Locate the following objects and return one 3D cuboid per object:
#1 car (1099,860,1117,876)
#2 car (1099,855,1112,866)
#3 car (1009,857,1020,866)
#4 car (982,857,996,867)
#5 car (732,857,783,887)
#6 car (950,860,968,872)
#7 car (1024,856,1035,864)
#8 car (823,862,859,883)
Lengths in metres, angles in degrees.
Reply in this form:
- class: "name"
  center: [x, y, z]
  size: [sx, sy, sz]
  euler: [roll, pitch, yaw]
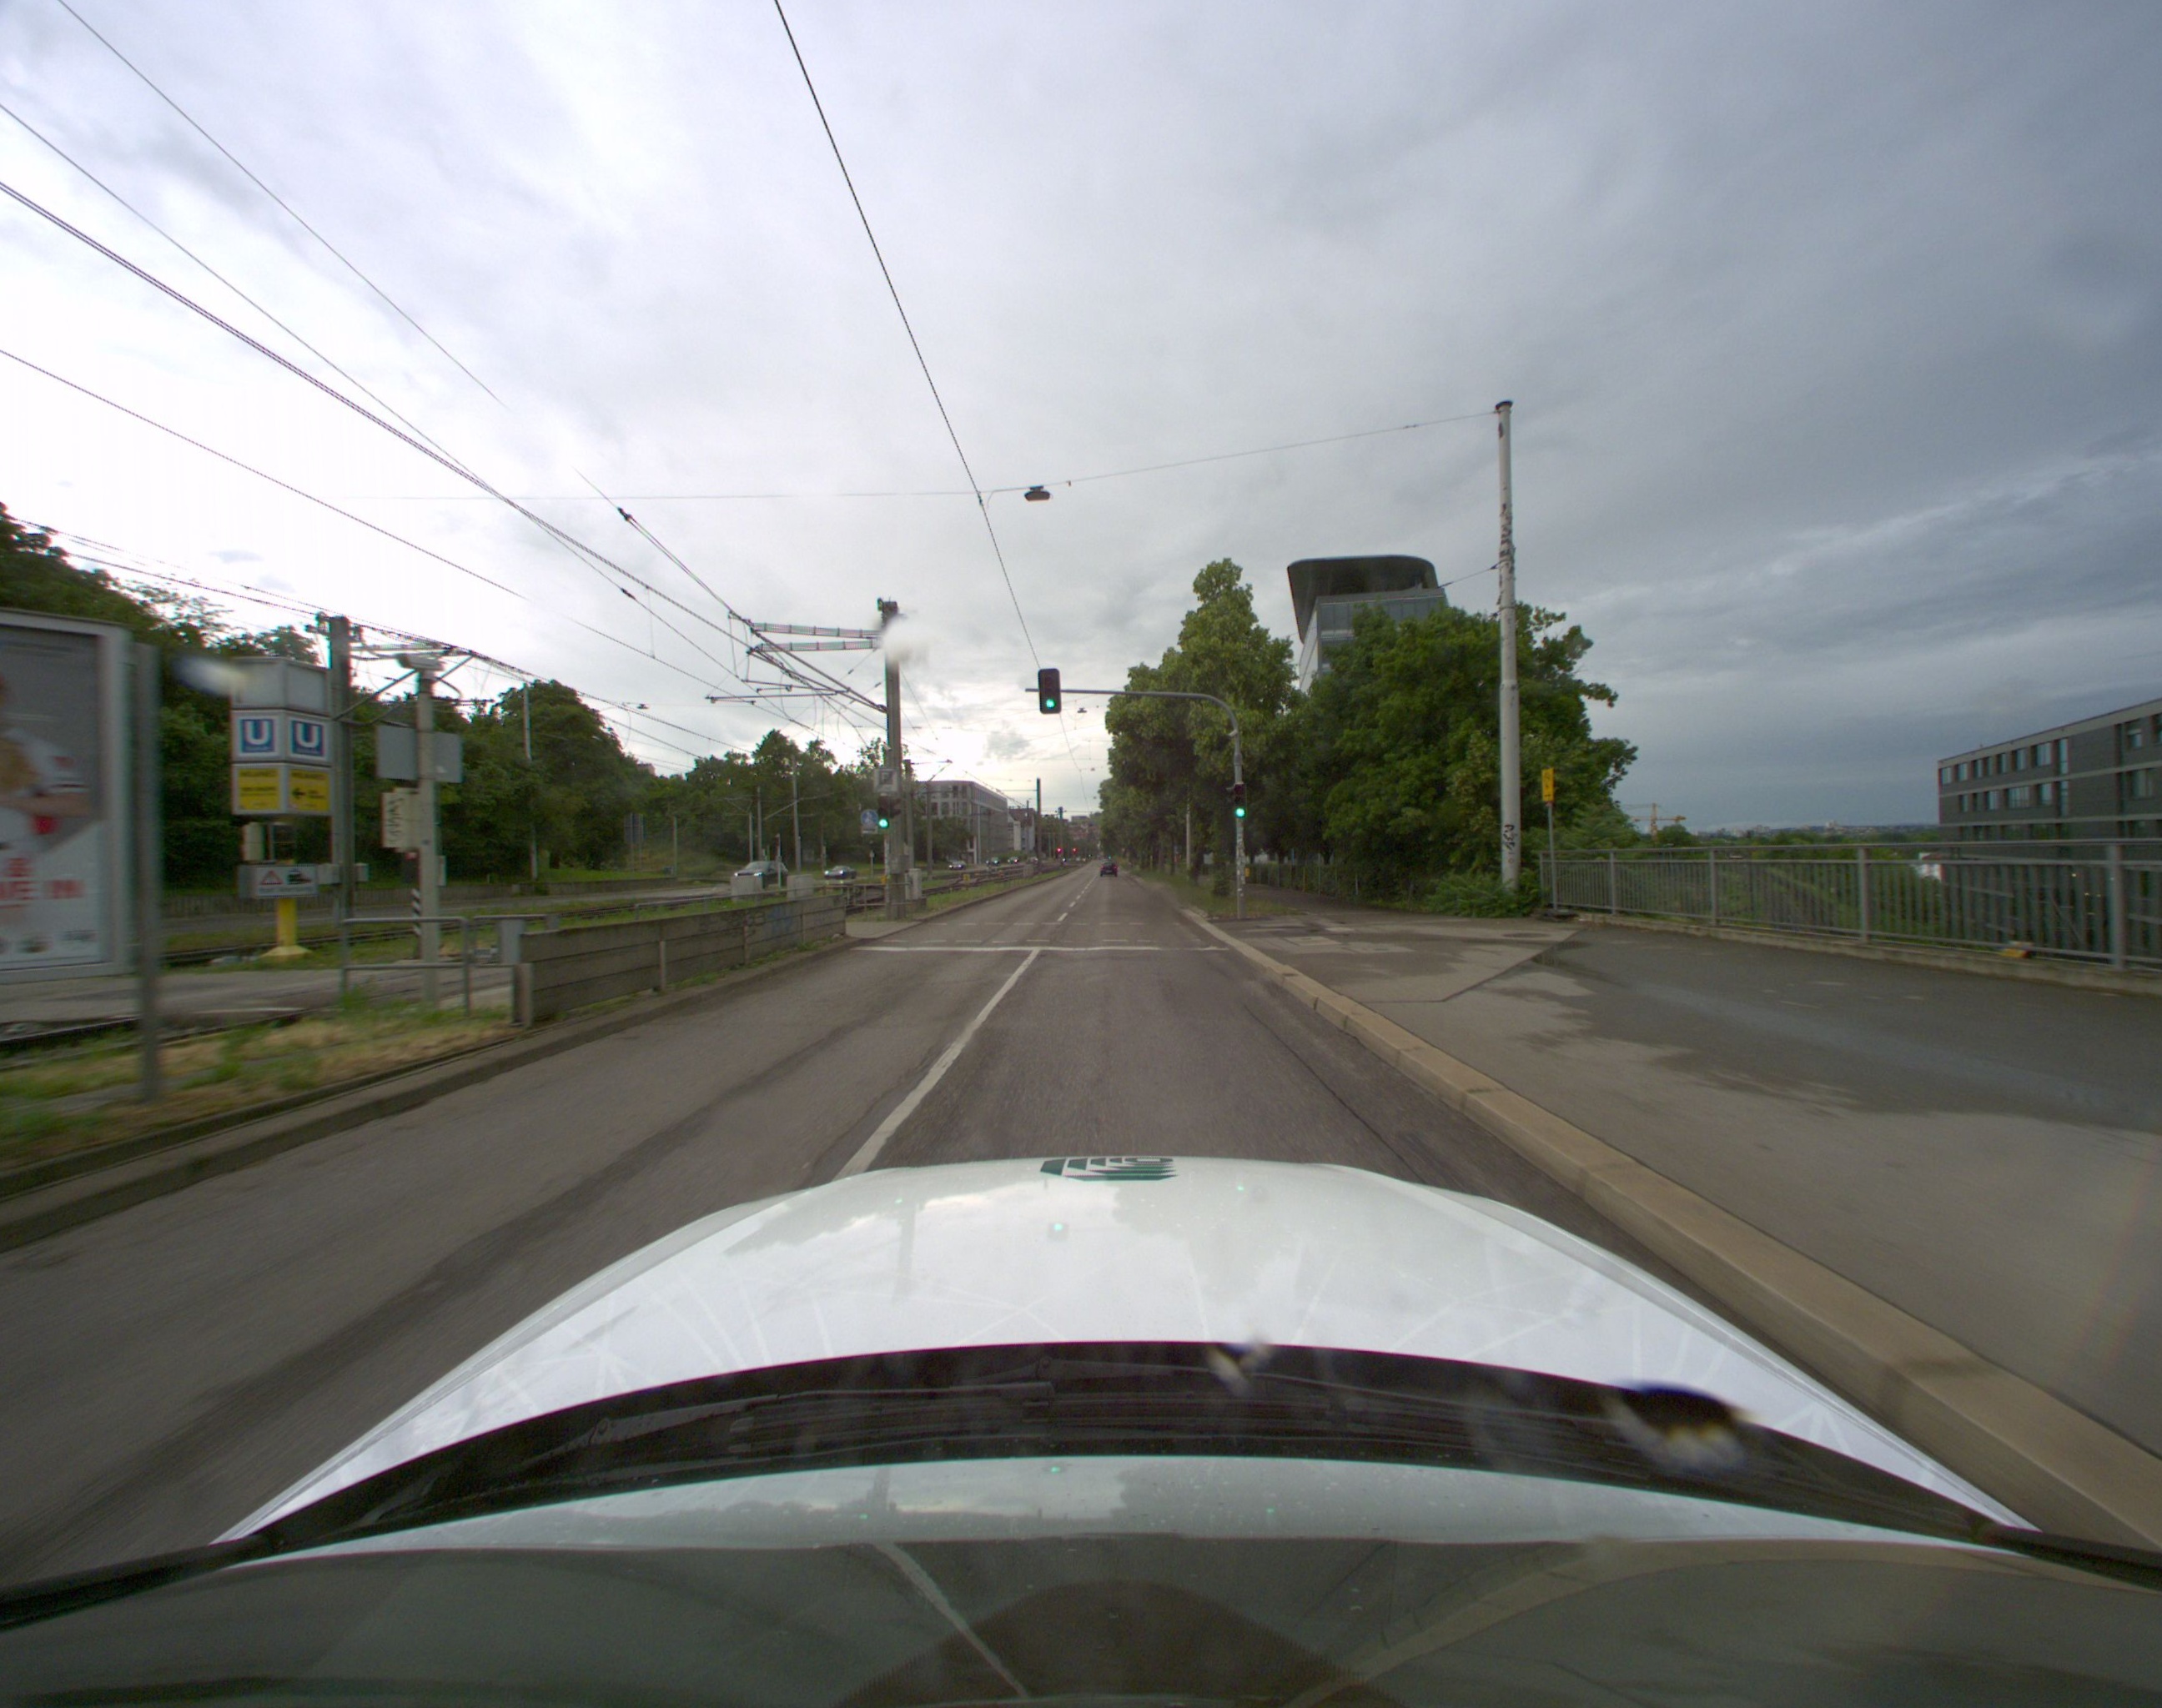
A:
- class: "car"
  center: [2.686, 1.366, 80.225]
  size: [1.720, 1.540, 4.001]
  euler: [0, 0, 1]
- class: "car"
  center: [3.285, 0.873, 109.406]
  size: [1.720, 1.425, 4.001]
  euler: [0, 0, 1]
- class: "car"
  center: [-14.511, 1.636, 178.157]
  size: [1.644, 1.631, 3.616]
  euler: [2, 2, 6]
- class: "car"
  center: [-17.034, 1.568, 151.339]
  size: [1.840, 1.631, 3.616]
  euler: [2, 2, 6]
- class: "car"
  center: [-20.703, 1.122, 52.293]
  size: [1.658, 1.631, 3.310]
  euler: [2, 2, 6]
- class: "car"
  center: [-18.322, 1.775, 122.420]
  size: [1.840, 1.631, 3.616]
  euler: [2, 2, 6]
- class: "car"
  center: [-11.517, 1.267, 183.340]
  size: [1.840, 1.631, 3.616]
  euler: [2, 2, 6]
- class: "car"
  center: [-22.314, 1.670, 75.748]
  size: [1.840, 1.631, 3.819]
  euler: [2, 2, 6]
